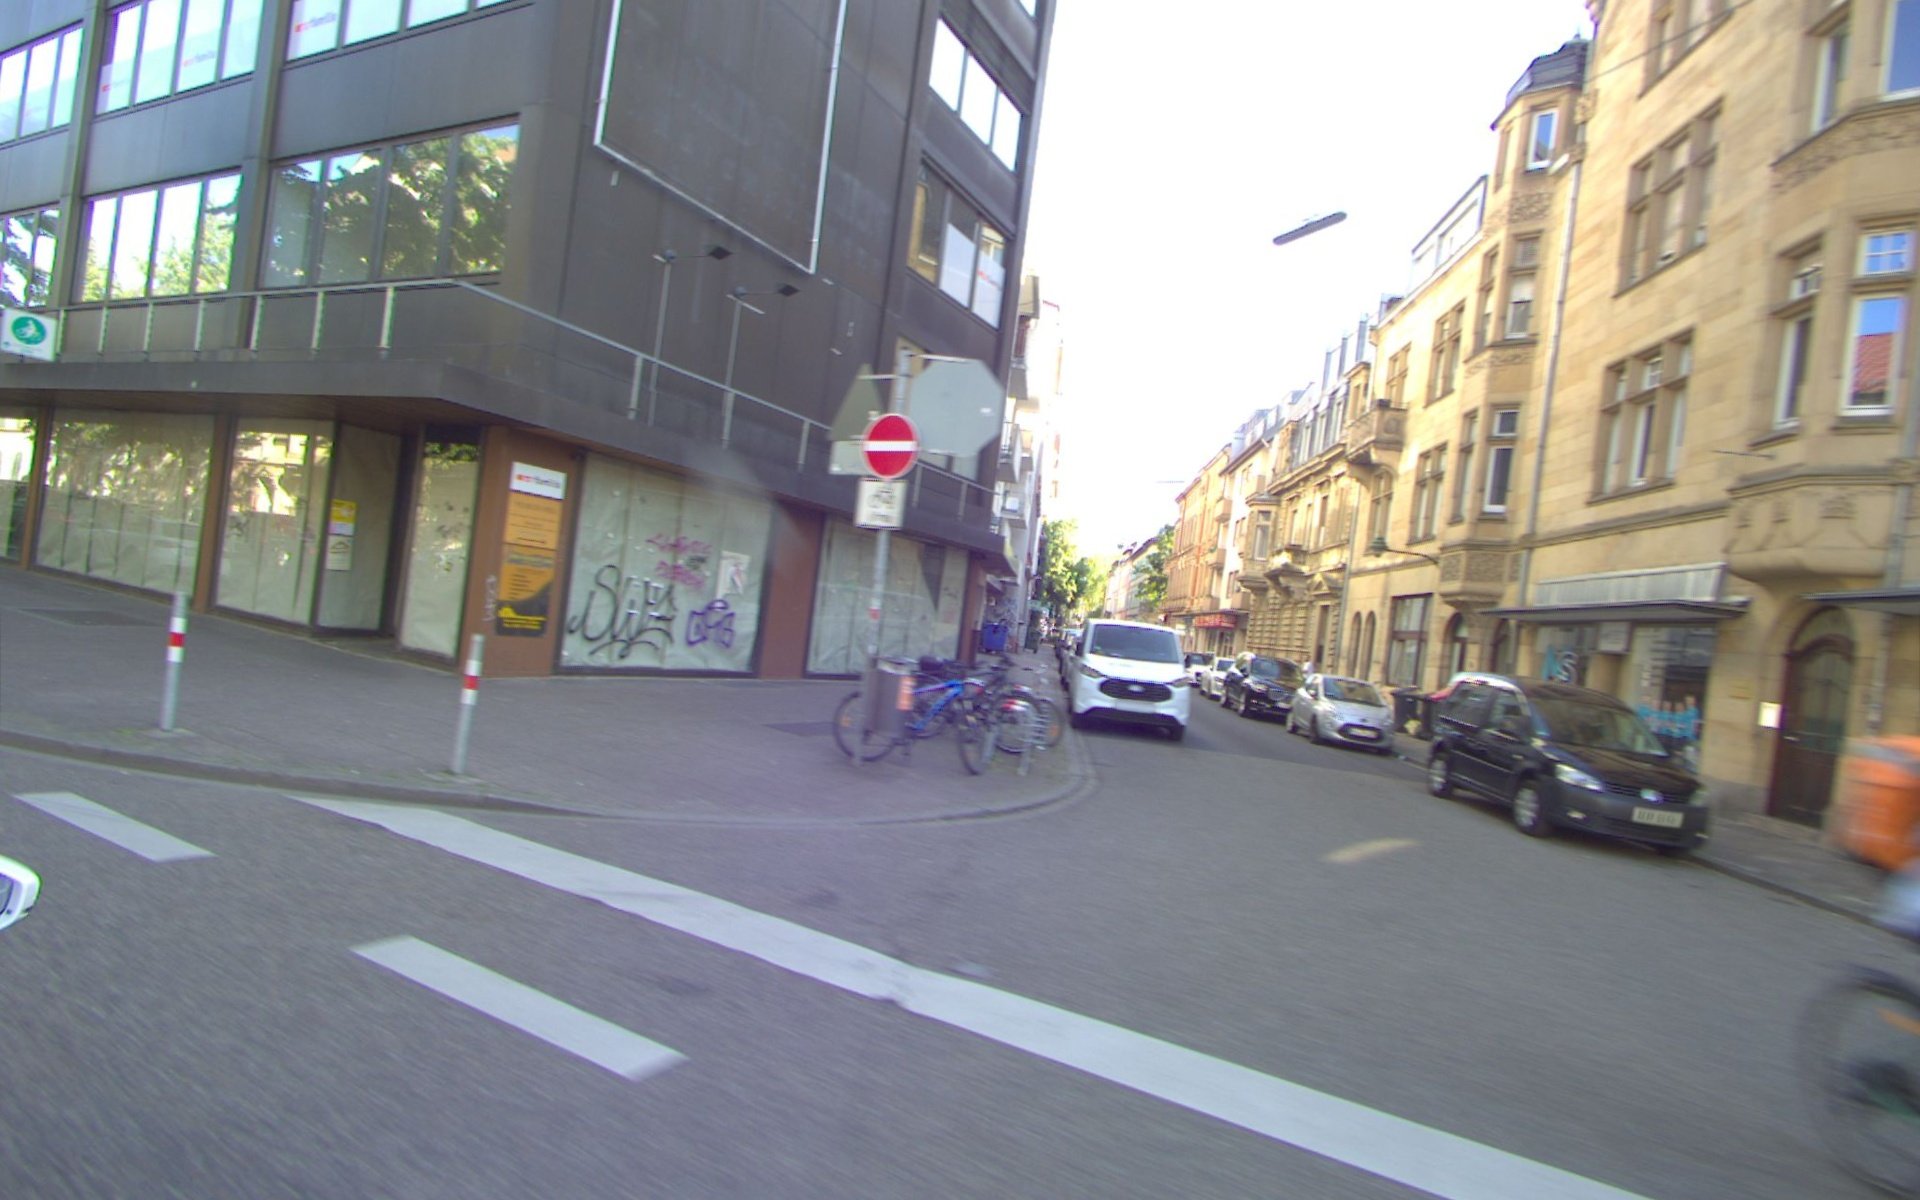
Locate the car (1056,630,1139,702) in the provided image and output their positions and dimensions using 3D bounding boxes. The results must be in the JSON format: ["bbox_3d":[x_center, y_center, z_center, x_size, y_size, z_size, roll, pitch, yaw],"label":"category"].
[{"bbox_3d":[3.932,1.866,29.447,1.962,1.697,4.321,7,-1,5],"label":"car"}]

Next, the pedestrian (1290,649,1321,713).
[{"bbox_3d":[11.623,2.720,33.863,0.632,2.038,0.456,7,1,3],"label":"pedestrian"}]

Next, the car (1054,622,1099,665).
[{"bbox_3d":[6.107,2.282,53.217,1.962,1.943,4.321,7,-1,5],"label":"car"}]

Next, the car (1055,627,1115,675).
[{"bbox_3d":[4.769,1.938,38.968,1.962,1.524,4.321,8,-1,5],"label":"car"}]

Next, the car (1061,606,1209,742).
[{"bbox_3d":[3.102,1.294,18.912,2.079,1.951,4.956,7,-1,5],"label":"car"}]

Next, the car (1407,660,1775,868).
[{"bbox_3d":[7.509,1.825,12.614,1.962,1.792,4.321,7,-1,5],"label":"car"}]

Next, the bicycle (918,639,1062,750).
[{"bbox_3d":[0.410,1.250,13.521,1.714,1.145,0.573,11,0,4],"label":"bicycle"}]

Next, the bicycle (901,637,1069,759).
[{"bbox_3d":[0.308,1.214,12.600,1.892,1.145,0.573,11,0,0],"label":"bicycle"}]

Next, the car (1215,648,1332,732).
[{"bbox_3d":[8.535,2.394,27.801,1.962,1.792,4.457,7,-1,5],"label":"car"}]

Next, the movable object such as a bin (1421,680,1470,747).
[{"bbox_3d":[11.452,2.670,23.737,0.671,1.434,0.761,7,1,6],"label":"movable object such as a bin"}]

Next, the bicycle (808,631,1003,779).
[{"bbox_3d":[-0.545,1.021,9.851,1.716,1.176,0.572,8,1,-10],"label":"bicycle"}]

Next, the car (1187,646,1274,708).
[{"bbox_3d":[9.236,2.598,34.678,1.962,1.697,4.321,7,-1,5],"label":"car"}]

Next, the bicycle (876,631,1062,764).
[{"bbox_3d":[0.105,1.140,11.918,1.982,1.175,0.573,11,0,0],"label":"bicycle"}]

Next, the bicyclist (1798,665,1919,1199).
[{"bbox_3d":[3.179,1.007,2.903,0.656,1.543,0.890,7,0,8],"label":"bicyclist"}]

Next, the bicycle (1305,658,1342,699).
[{"bbox_3d":[12.411,2.677,34.373,0.556,1.229,1.865,7,0,5],"label":"bicycle"}]

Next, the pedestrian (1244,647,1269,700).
[{"bbox_3d":[11.875,2.932,40.321,0.632,2.038,0.456,7,1,3],"label":"pedestrian"}]

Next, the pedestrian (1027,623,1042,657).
[{"bbox_3d":[4.264,2.276,57.585,0.632,1.879,0.456,7,1,3],"label":"pedestrian"}]

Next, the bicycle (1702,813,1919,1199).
[{"bbox_3d":[3.125,1.400,2.872,0.656,1.172,1.946,7,-1,8],"label":"bicycle"}]

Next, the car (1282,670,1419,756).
[{"bbox_3d":[8.385,2.387,21.942,1.742,1.428,3.672,6,-2,6],"label":"car"}]
